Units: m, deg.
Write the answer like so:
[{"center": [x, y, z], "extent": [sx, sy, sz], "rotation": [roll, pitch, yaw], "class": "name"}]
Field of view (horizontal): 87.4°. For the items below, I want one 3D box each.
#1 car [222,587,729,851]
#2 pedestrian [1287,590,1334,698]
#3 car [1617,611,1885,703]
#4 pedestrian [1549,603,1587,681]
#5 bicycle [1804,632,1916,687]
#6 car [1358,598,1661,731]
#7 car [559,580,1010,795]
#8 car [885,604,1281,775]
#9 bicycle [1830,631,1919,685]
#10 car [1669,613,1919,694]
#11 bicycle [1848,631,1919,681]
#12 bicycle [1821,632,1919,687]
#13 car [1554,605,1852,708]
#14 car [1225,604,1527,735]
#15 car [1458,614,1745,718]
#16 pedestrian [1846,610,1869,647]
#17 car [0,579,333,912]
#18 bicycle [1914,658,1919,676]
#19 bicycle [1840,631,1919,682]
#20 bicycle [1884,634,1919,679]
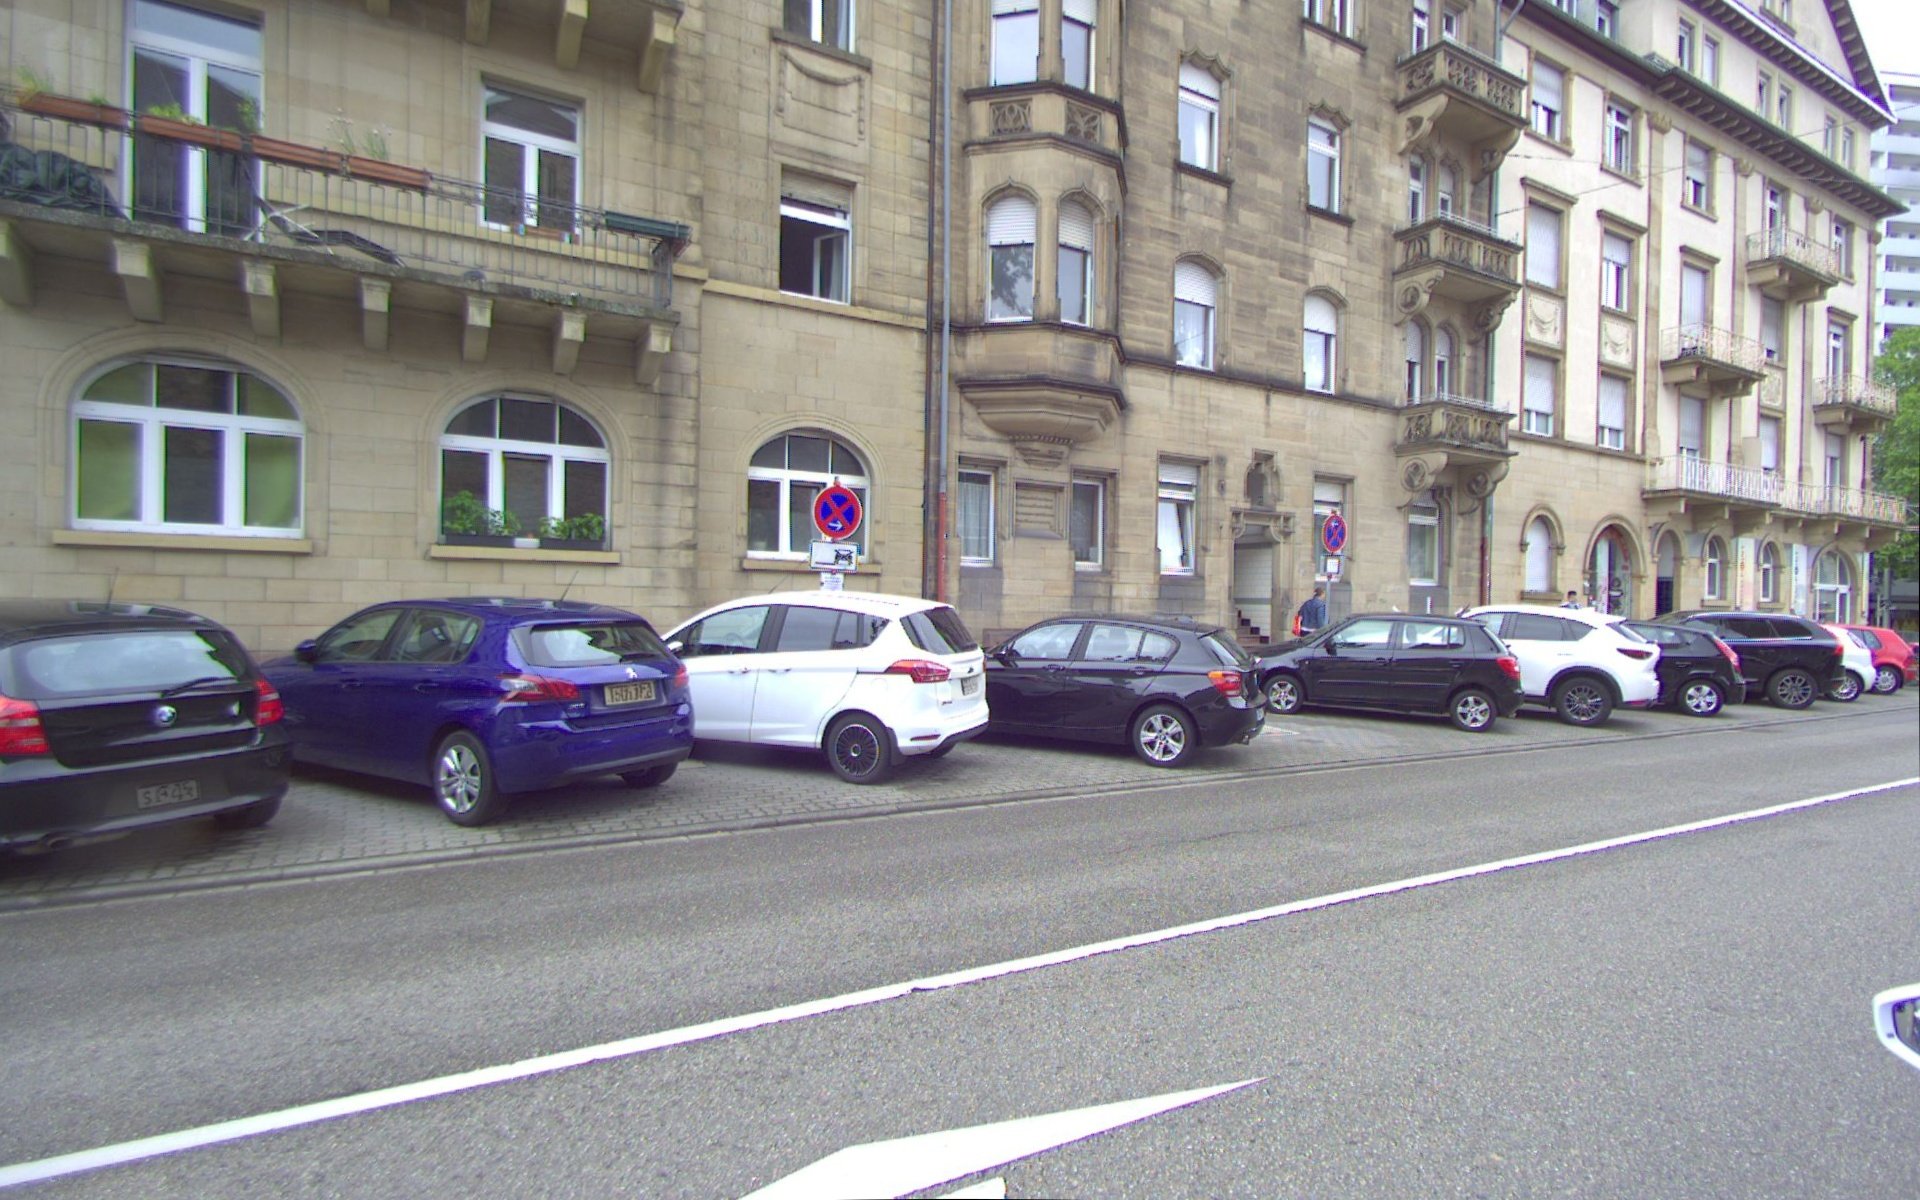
[{"center": [-3.835, 0.712, 7.865], "extent": [3.682, 1.465, 1.820], "rotation": [3, 2, 30], "class": "car"}, {"center": [6.568, 0.806, 18.842], "extent": [0.544, 1.984, 0.616], "rotation": [1, 0, -29], "class": "pedestrian"}, {"center": [15.997, 1.102, 20.551], "extent": [3.920, 1.492, 1.564], "rotation": [3, 2, 18], "class": "car"}, {"center": [14.481, 0.990, 23.919], "extent": [0.544, 1.809, 0.564], "rotation": [1, 0, -29], "class": "pedestrian"}, {"center": [21.304, 1.397, 23.829], "extent": [0.436, 1.050, 1.879], "rotation": [1, 4, -26], "class": "bicycle"}, {"center": [8.527, 0.899, 15.702], "extent": [3.935, 1.746, 1.835], "rotation": [2, 0, 36], "class": "car"}, {"center": [-1.678, 0.682, 9.618], "extent": [3.922, 1.575, 1.702], "rotation": [3, 2, 22], "class": "car"}, {"center": [1.321, 0.843, 10.918], "extent": [3.924, 1.436, 1.660], "rotation": [2, 1, 25], "class": "car"}, {"center": [22.491, 1.407, 24.444], "extent": [0.437, 1.050, 1.876], "rotation": [0, 6, -31], "class": "bicycle"}, {"center": [18.296, 1.141, 22.179], "extent": [3.919, 1.492, 1.684], "rotation": [2, 2, 12], "class": "car"}, {"center": [23.567, 1.428, 25.146], "extent": [0.437, 1.050, 1.876], "rotation": [0, 6, -31], "class": "bicycle"}, {"center": [22.042, 1.414, 24.162], "extent": [0.437, 1.050, 1.876], "rotation": [0, 6, -31], "class": "bicycle"}, {"center": [13.842, 0.998, 19.011], "extent": [4.141, 1.674, 1.732], "rotation": [2, 0, 18], "class": "car"}, {"center": [5.847, 0.906, 14.412], "extent": [3.738, 1.517, 1.569], "rotation": [3, 1, 22], "class": "car"}, {"center": [10.935, 1.072, 17.475], "extent": [3.923, 1.514, 1.731], "rotation": [2, 0, 23], "class": "car"}, {"center": [44.263, 1.405, 49.548], "extent": [0.718, 1.795, 0.671], "rotation": [1, 0, -30], "class": "pedestrian"}, {"center": [-5.985, 0.668, 6.327], "extent": [3.927, 1.457, 1.730], "rotation": [3, 2, 28], "class": "car"}, {"center": [25.341, 1.799, 25.168], "extent": [1.017, 0.451, 1.876], "rotation": [-1, 6, -31], "class": "bicycle"}, {"center": [23.045, 1.398, 24.793], "extent": [0.437, 1.050, 1.876], "rotation": [0, 6, -31], "class": "bicycle"}, {"center": [24.303, 1.478, 24.930], "extent": [0.437, 1.050, 1.876], "rotation": [0, 6, -31], "class": "bicycle"}]
